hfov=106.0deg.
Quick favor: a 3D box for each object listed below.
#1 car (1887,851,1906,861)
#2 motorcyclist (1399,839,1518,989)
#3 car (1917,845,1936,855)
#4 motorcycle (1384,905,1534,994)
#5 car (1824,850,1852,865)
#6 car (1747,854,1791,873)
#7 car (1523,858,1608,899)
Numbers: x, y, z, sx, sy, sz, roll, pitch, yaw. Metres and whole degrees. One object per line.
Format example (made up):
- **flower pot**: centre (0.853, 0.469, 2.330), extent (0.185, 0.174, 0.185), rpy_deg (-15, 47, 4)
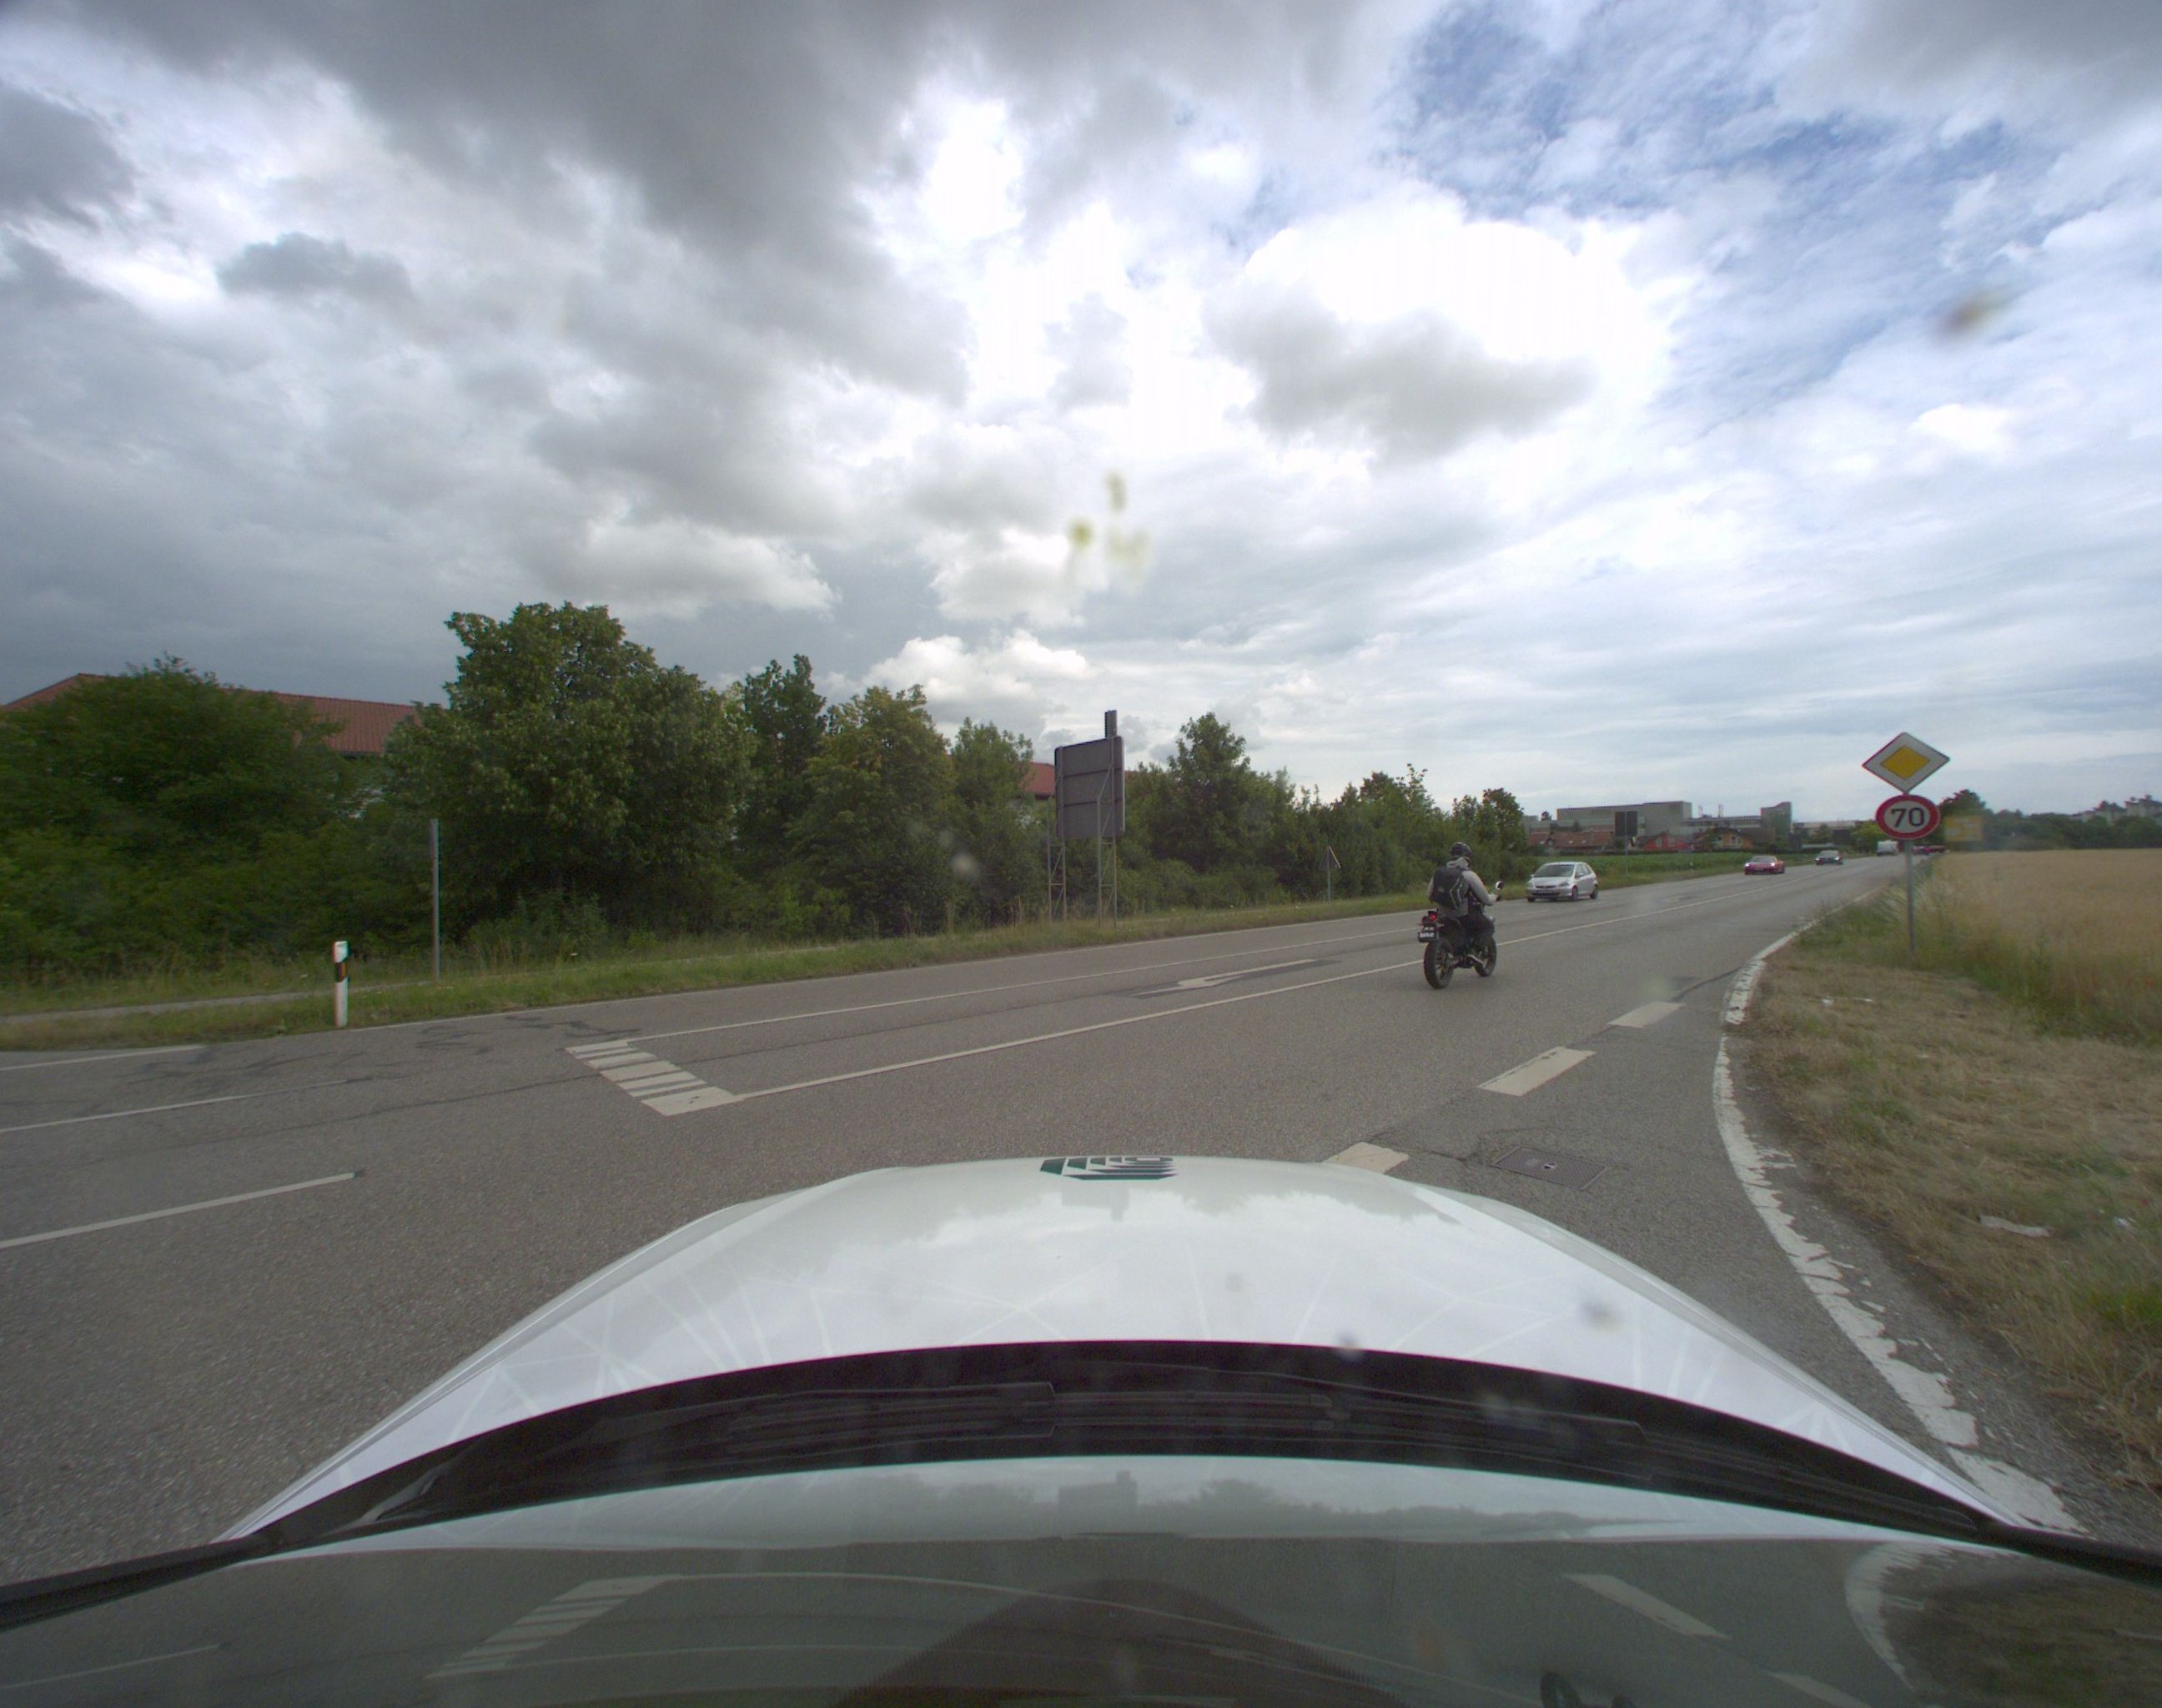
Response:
- **car**: centre (136.543, 0.330, 136.356), extent (4.701, 1.699, 1.976), rpy_deg (0, -1, -42)
- **motorcyclist**: centre (4.757, 0.703, 10.258), extent (1.207, 1.750, 0.933), rpy_deg (0, -1, -42)
- **car**: centre (141.460, -0.698, 136.238), extent (4.020, 1.566, 1.842), rpy_deg (-1, -1, -40)
- **motorcycle**: centre (4.816, 1.145, 10.297), extent (2.157, 0.890, 0.933), rpy_deg (0, -1, -42)
- **car**: centre (76.358, 0.367, 82.159), extent (4.326, 1.429, 1.654), rpy_deg (0, -3, -43)
- **car**: centre (48.458, 0.653, 57.333), extent (4.234, 1.241, 1.755), rpy_deg (-1, -1, -42)
- **car**: centre (18.757, 0.936, 31.460), extent (3.956, 1.432, 1.714), rpy_deg (-1, -2, -43)
